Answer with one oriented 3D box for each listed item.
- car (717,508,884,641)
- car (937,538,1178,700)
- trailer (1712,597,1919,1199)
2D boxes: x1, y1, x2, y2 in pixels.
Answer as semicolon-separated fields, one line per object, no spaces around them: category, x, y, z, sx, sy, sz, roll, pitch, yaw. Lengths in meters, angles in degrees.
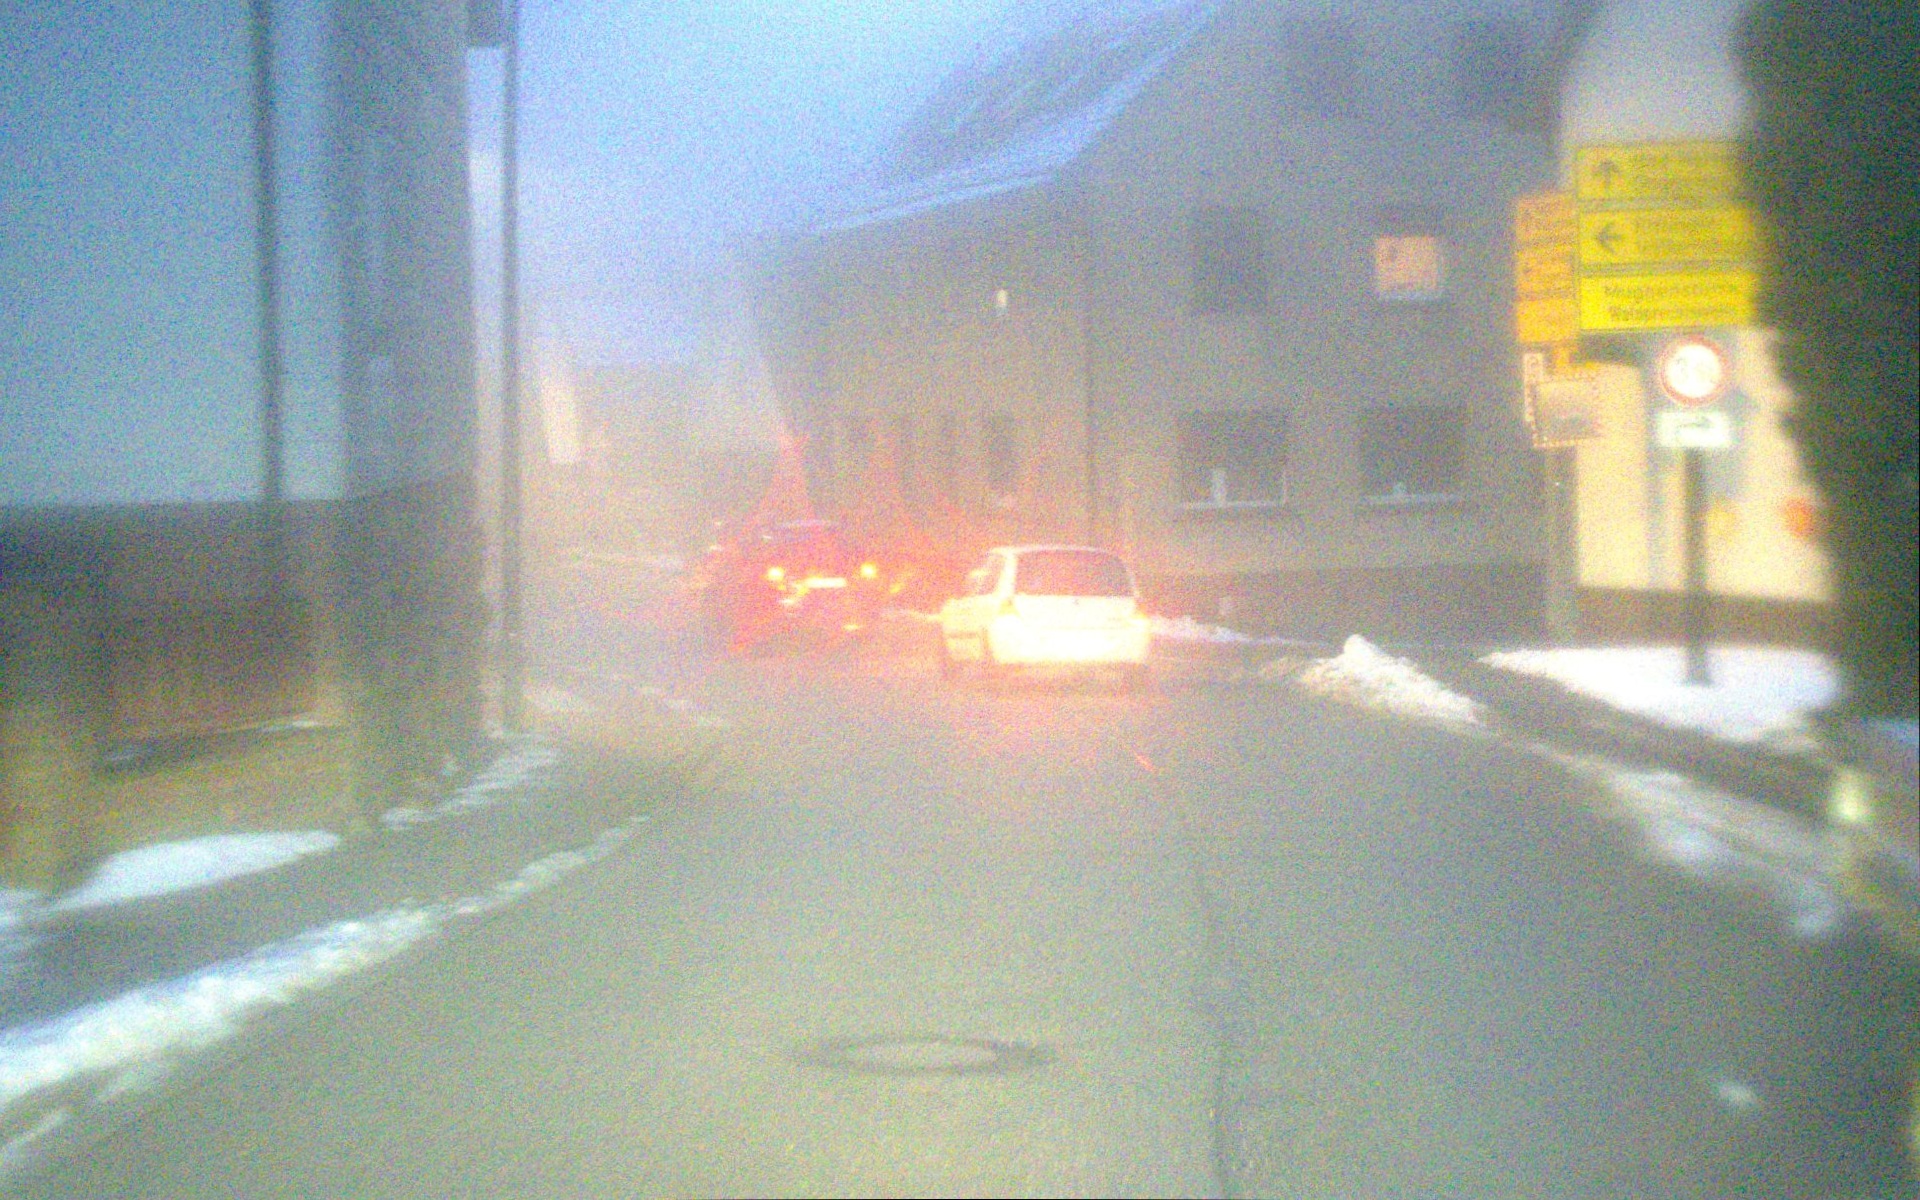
car;-2.237;-0.342;47.246;1.993;1.722;4.001;1;0;-6
car;0.909;0.179;34.571;1.993;1.503;4.001;1;0;-4
trailer;2.855;0.750;7.097;1.994;1.383;4.730;1;1;6
